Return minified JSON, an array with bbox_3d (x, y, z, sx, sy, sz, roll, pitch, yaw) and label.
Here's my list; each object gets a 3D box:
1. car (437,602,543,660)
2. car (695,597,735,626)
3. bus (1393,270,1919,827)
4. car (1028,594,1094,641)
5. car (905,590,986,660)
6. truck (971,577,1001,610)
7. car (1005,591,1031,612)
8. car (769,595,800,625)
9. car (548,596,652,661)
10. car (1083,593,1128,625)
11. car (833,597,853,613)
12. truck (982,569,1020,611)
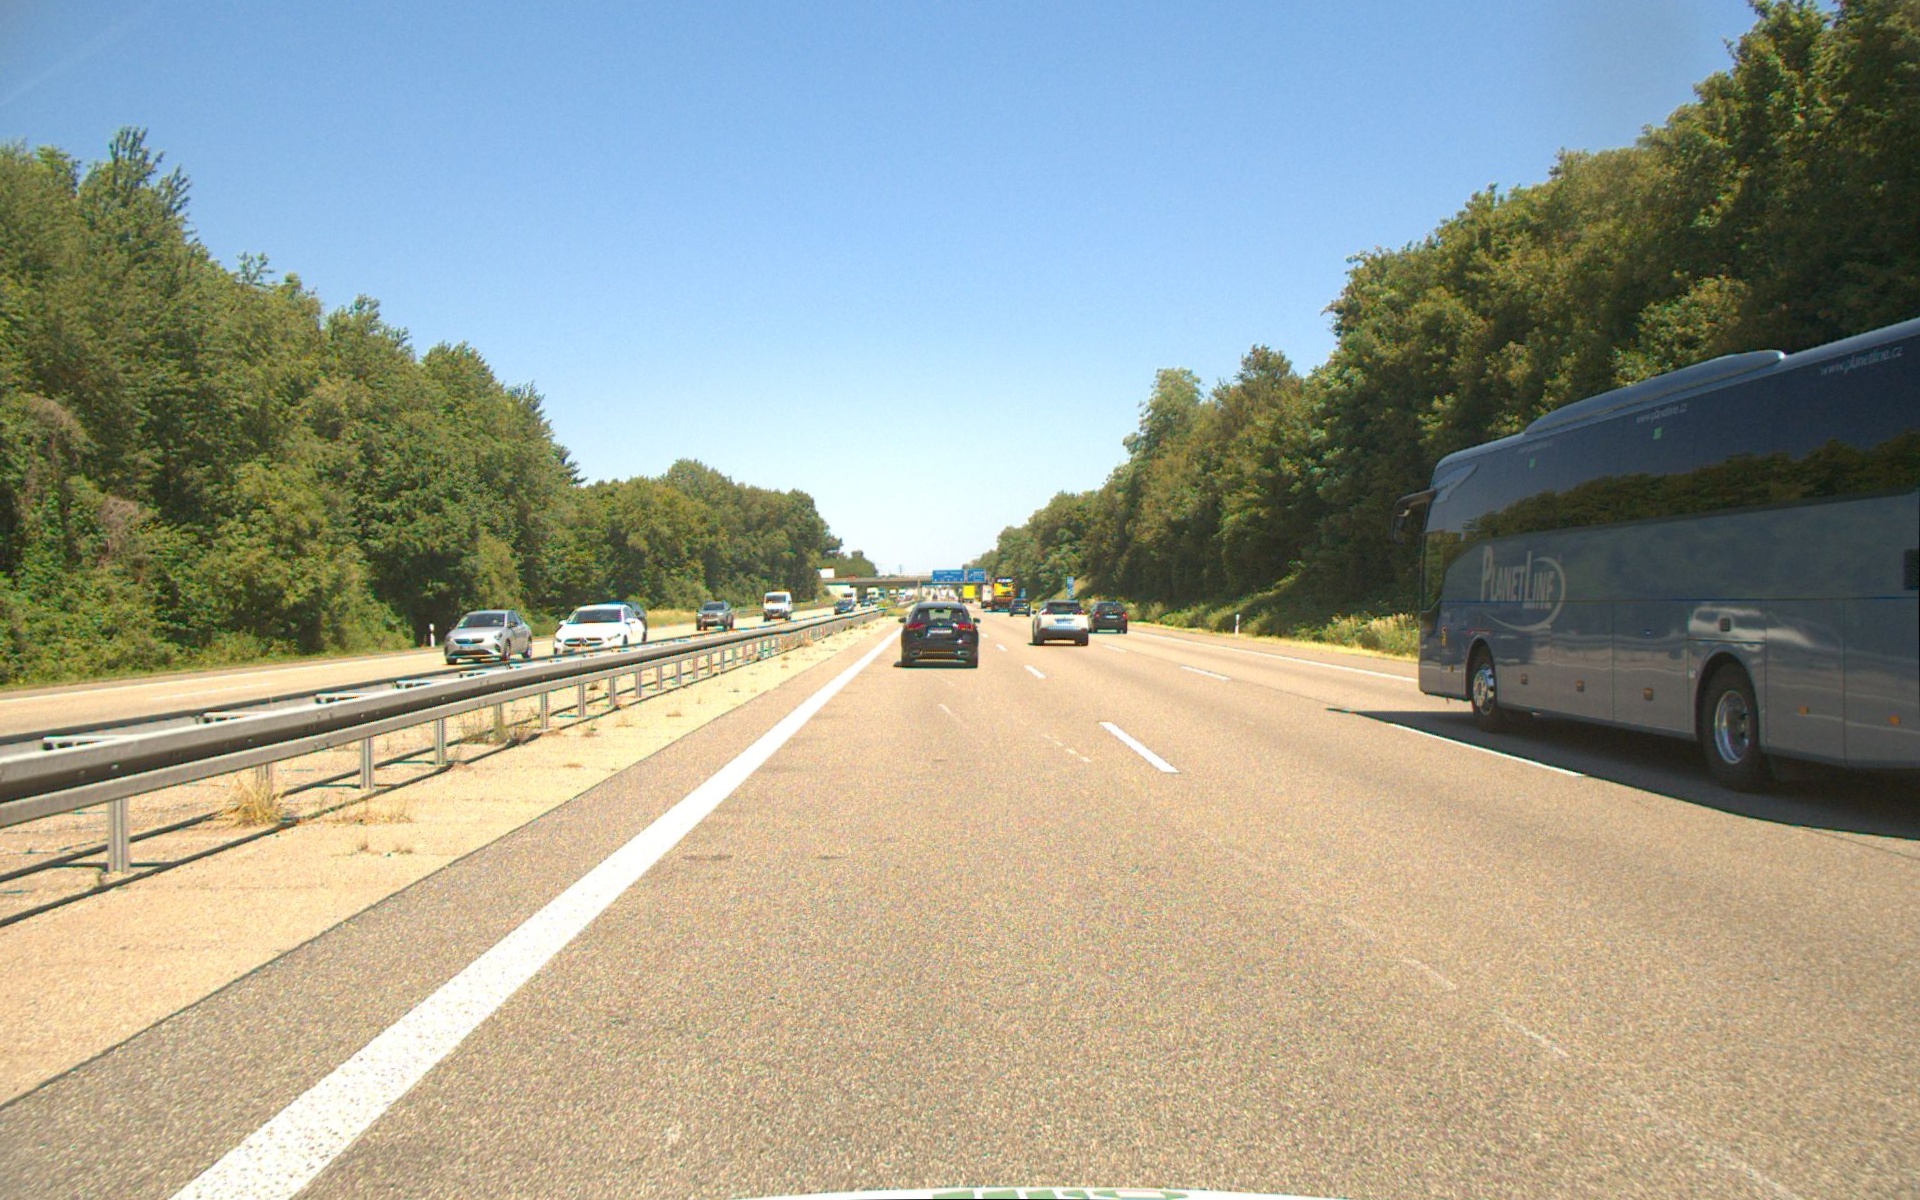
[{"bbox_3d":[-13.401,0.841,47.467,1.783,1.550,4.821,-1,0,-2],"label":"car"},{"bbox_3d":[-14.618,0.644,98.883,1.783,1.659,4.796,-1,0,-2],"label":"car"},{"bbox_3d":[7.512,-0.342,16.551,2.746,3.659,12.469,0,0,-2],"label":"bus"},{"bbox_3d":[3.458,0.576,57.316,1.861,1.559,4.240,0,0,-2],"label":"car"},{"bbox_3d":[-0.378,0.533,38.374,1.763,1.528,4.240,0,0,-2],"label":"car"},{"bbox_3d":[3.870,-0.961,249.691,3.574,4.670,17.240,1,0,-2],"label":"truck"},{"bbox_3d":[5.197,0.107,149.162,2.034,1.781,4.240,-1,0,-2],"label":"car"},{"bbox_3d":[-14.293,0.779,135.050,2.045,2.328,5.275,-1,0,-2],"label":"car"},{"bbox_3d":[-9.299,0.689,43.083,1.783,1.550,4.821,-1,0,-2],"label":"car"},{"bbox_3d":[6.892,0.407,78.628,1.753,1.487,3.949,0,0,0],"label":"car"},{"bbox_3d":[-11.647,0.498,165.079,1.769,1.506,4.566,-1,0,-2],"label":"car"},{"bbox_3d":[4.814,-1.156,196.731,3.574,4.670,15.760,1,0,-2],"label":"truck"}]
